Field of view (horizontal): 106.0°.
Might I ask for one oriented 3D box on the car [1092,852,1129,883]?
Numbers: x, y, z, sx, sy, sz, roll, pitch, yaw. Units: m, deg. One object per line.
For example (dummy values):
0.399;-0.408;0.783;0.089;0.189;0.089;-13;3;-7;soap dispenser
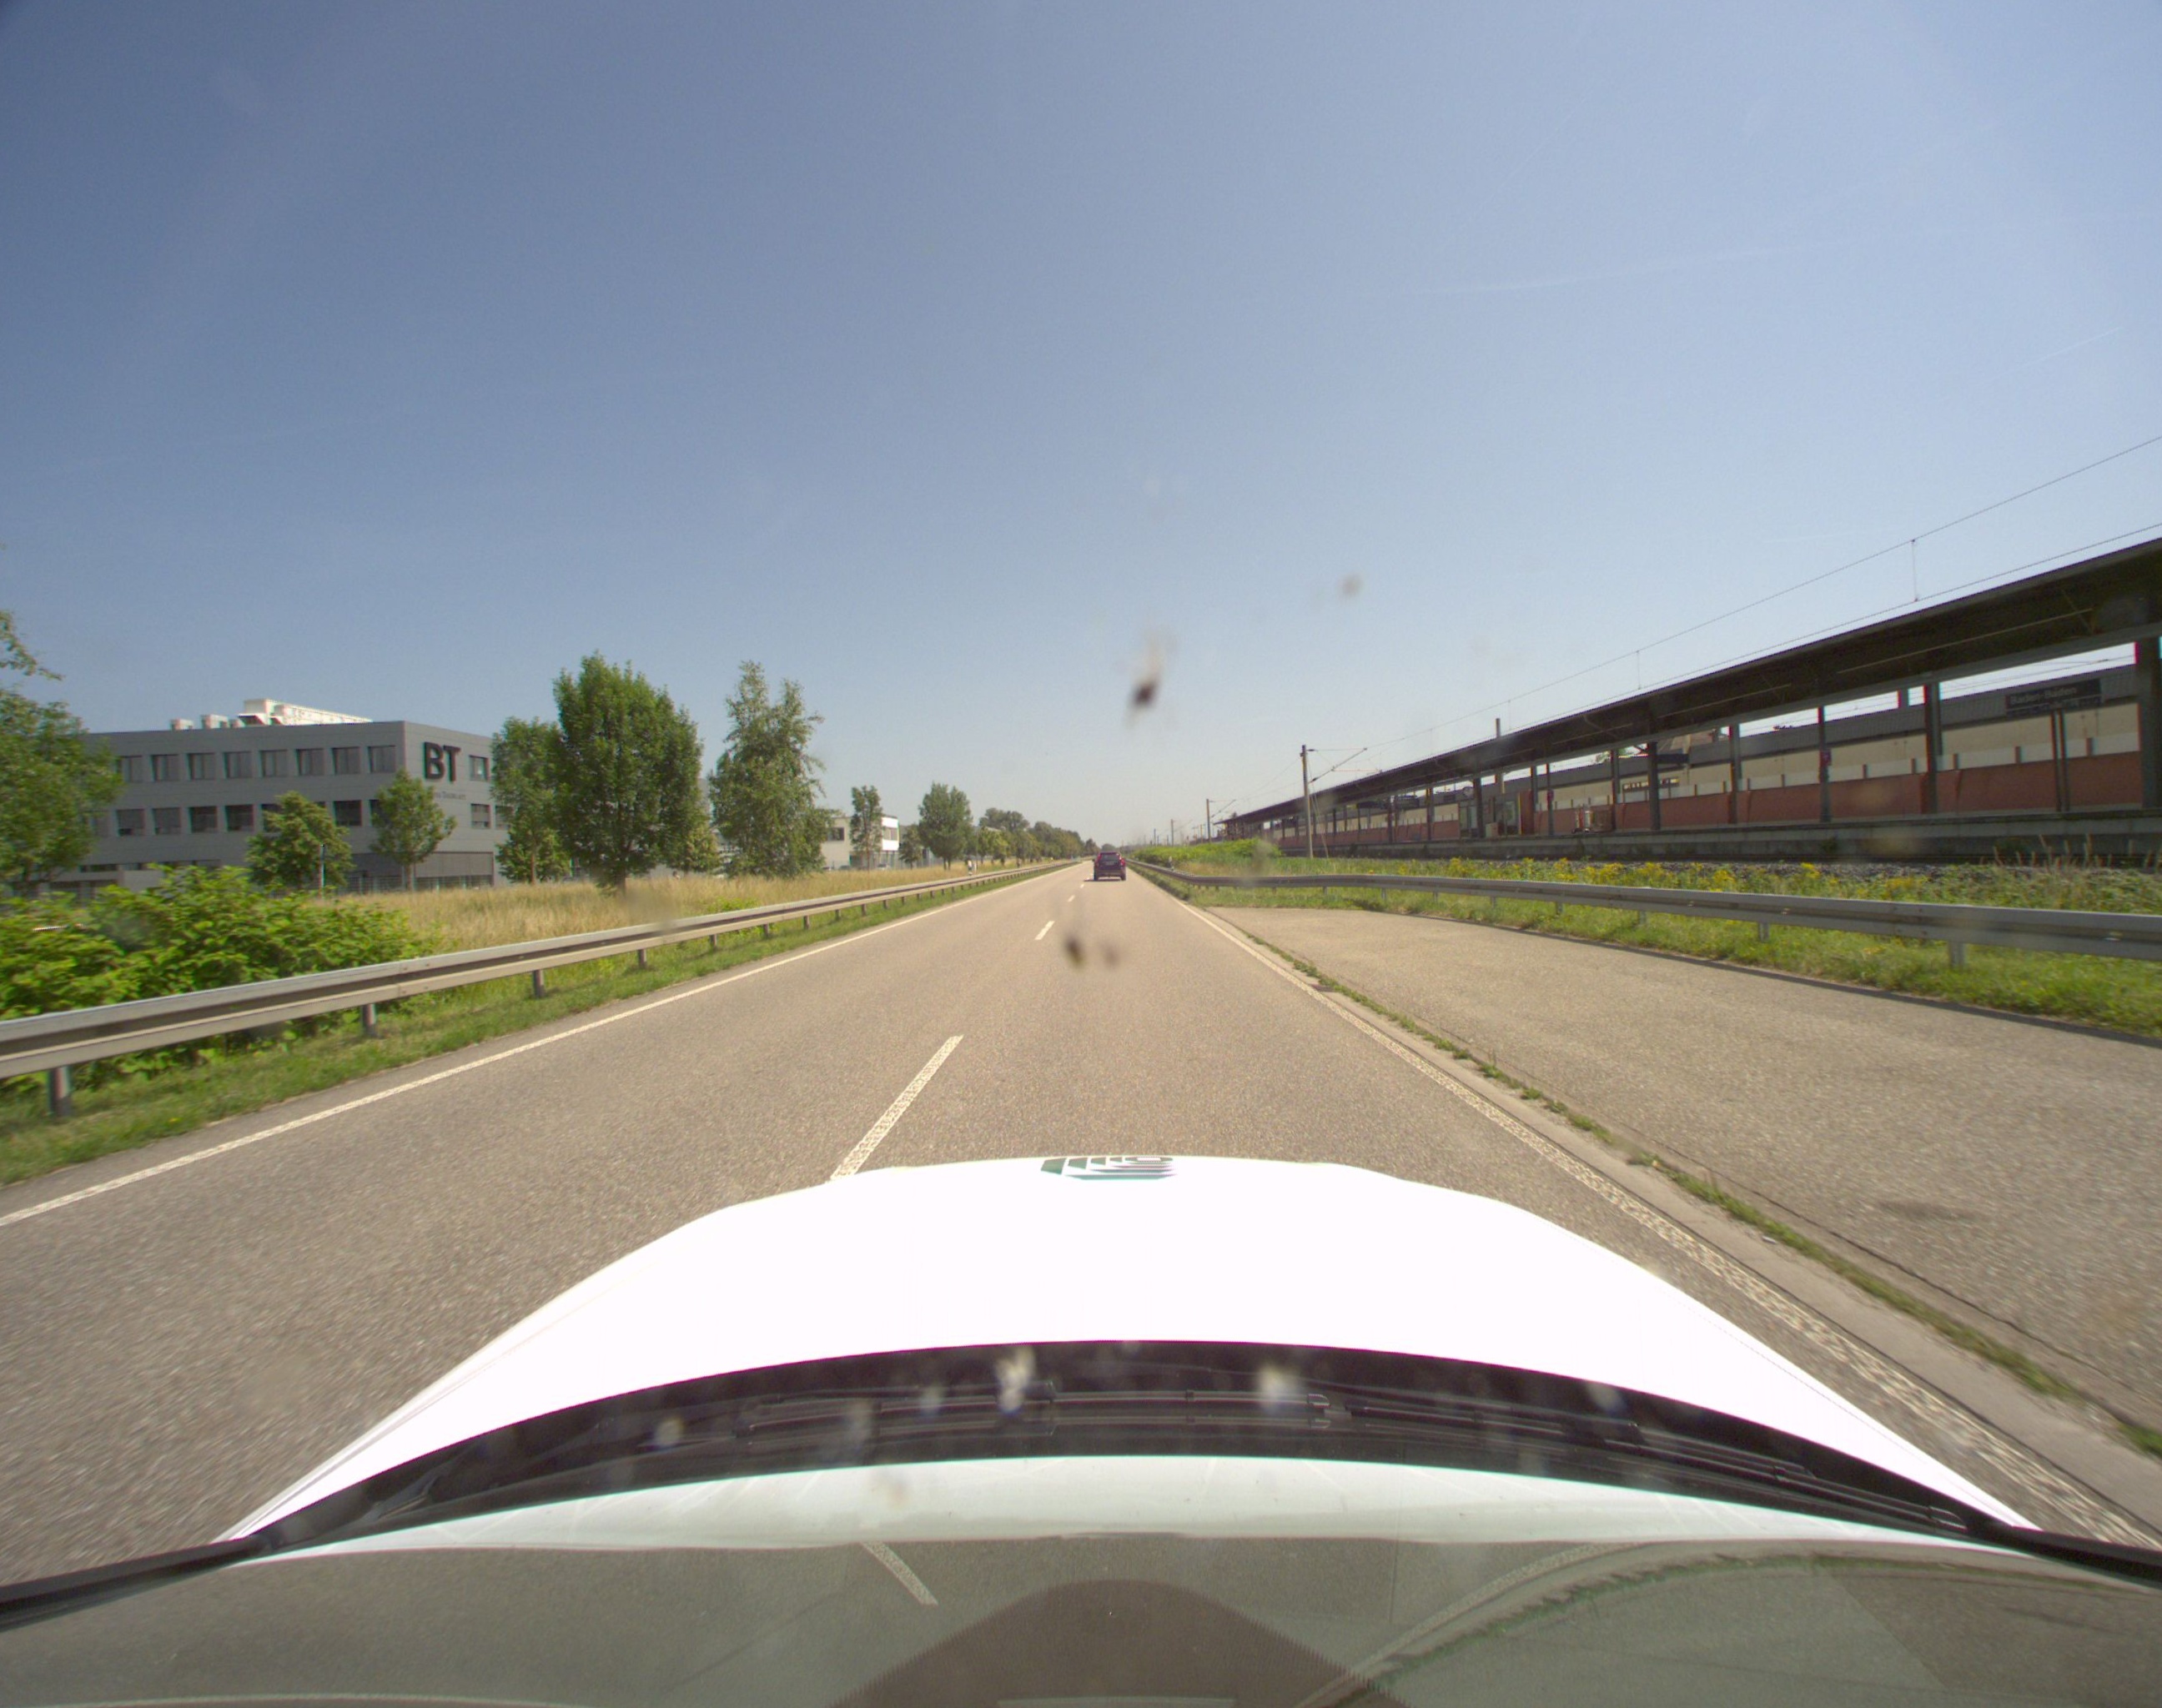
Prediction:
1.698;0.783;48.603;1.987;1.700;3.999;-2;0;-1;car
